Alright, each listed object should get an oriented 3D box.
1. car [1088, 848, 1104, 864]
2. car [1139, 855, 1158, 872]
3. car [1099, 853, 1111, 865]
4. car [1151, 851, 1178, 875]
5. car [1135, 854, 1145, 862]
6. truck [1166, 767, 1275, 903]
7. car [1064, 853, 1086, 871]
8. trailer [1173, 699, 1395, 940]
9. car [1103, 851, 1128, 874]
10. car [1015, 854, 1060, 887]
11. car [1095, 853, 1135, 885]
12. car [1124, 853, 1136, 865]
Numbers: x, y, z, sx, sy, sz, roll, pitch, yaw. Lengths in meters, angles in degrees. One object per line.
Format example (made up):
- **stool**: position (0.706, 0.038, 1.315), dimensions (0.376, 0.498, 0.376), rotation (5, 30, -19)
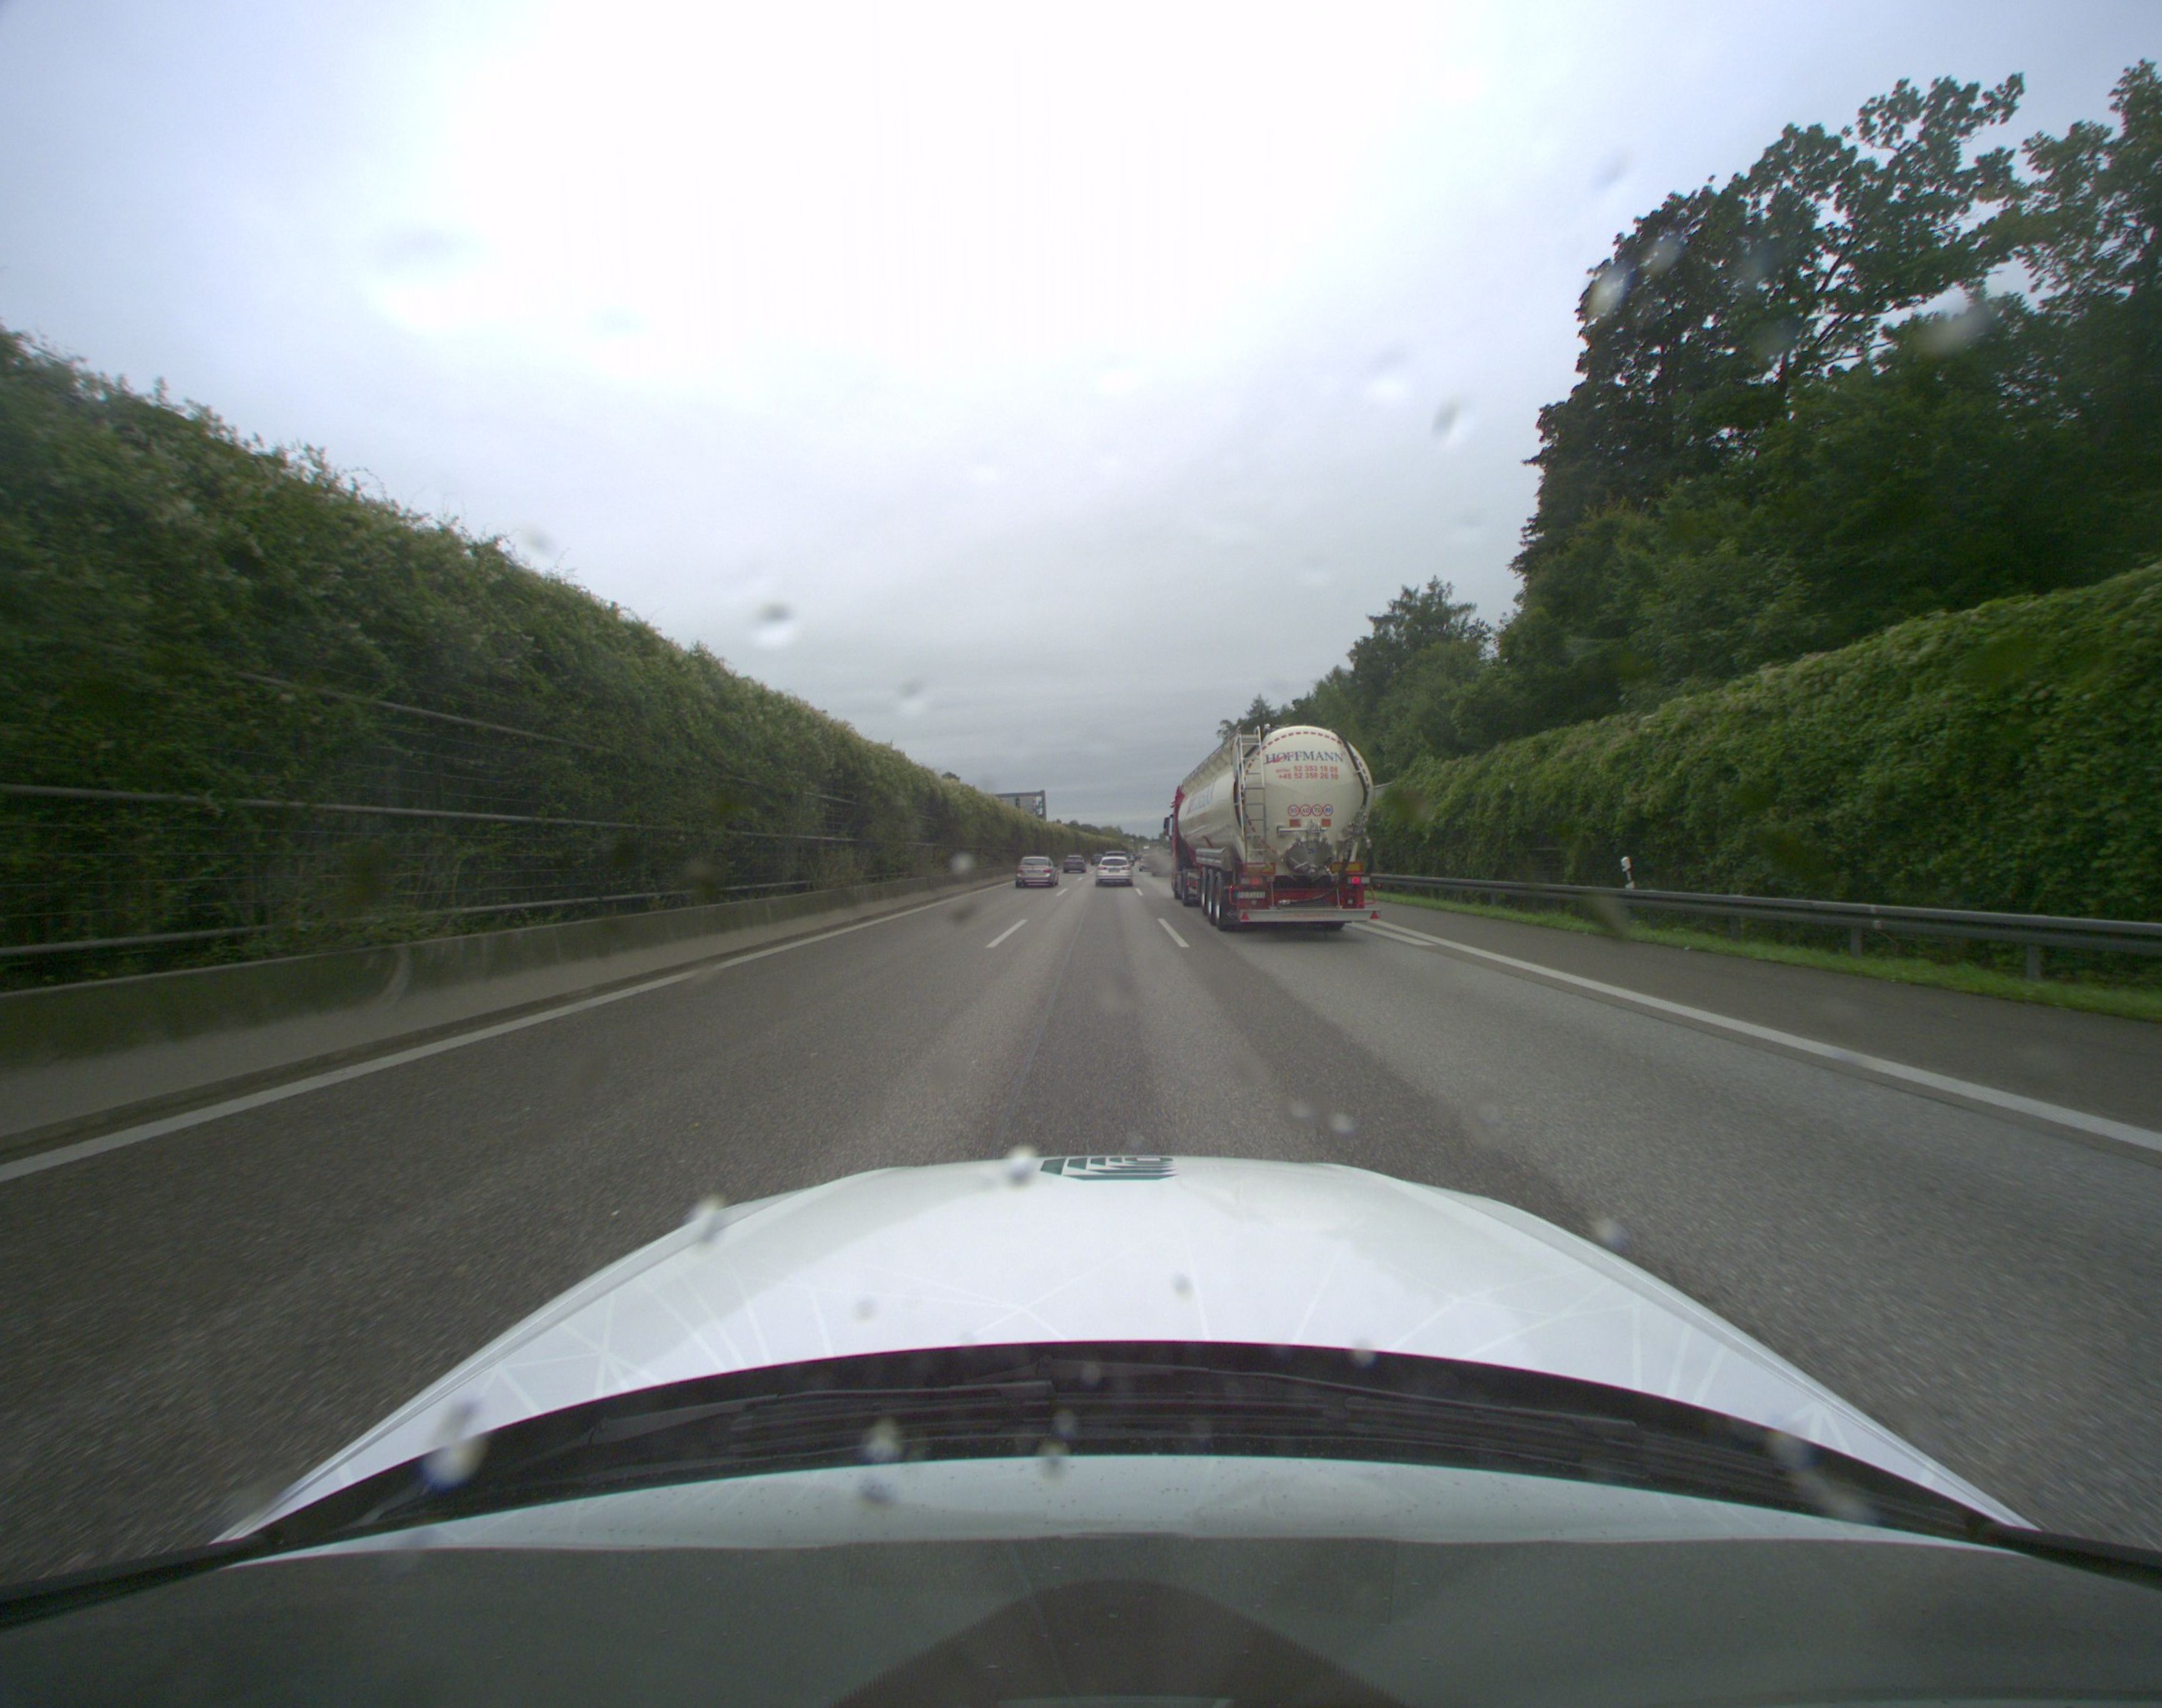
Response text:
- **car**: position (2.057, 0.279, 111.165), dimensions (1.986, 2.013, 3.842), rotation (-1, 0, 1)
- **car**: position (6.205, 0.835, 75.015), dimensions (1.681, 1.506, 3.876), rotation (-1, 0, 5)
- **car**: position (4.211, 0.929, 142.836), dimensions (1.986, 2.013, 4.001), rotation (-1, 0, 1)
- **car**: position (5.955, 0.624, 58.383), dimensions (1.807, 1.625, 5.036), rotation (-1, 0, 5)
- **car**: position (11.504, 0.713, 159.205), dimensions (1.680, 1.539, 3.878), rotation (-1, 0, 6)
- **truck**: position (4.386, -0.537, 26.877), dimensions (2.684, 3.912, 6.560), rotation (-1, 0, 2)
- **car**: position (-0.494, 0.665, 69.295), dimensions (1.714, 1.512, 5.031), rotation (-1, 0, 1)
- **trailer**: position (4.098, -0.528, 20.038), dimensions (2.657, 3.939, 13.137), rotation (-1, 0, 2)
- **car**: position (2.500, 0.581, 59.142), dimensions (1.682, 1.506, 3.874), rotation (3, 1, 2)
- **car**: position (-2.093, 0.755, 40.219), dimensions (1.713, 1.469, 5.034), rotation (-1, 1, 3)
- **car**: position (1.726, 0.715, 41.101), dimensions (1.884, 1.504, 5.033), rotation (-1, 0, 3)
- **car**: position (7.778, 0.784, 129.900), dimensions (1.782, 1.779, 3.875), rotation (-2, 0, 4)
